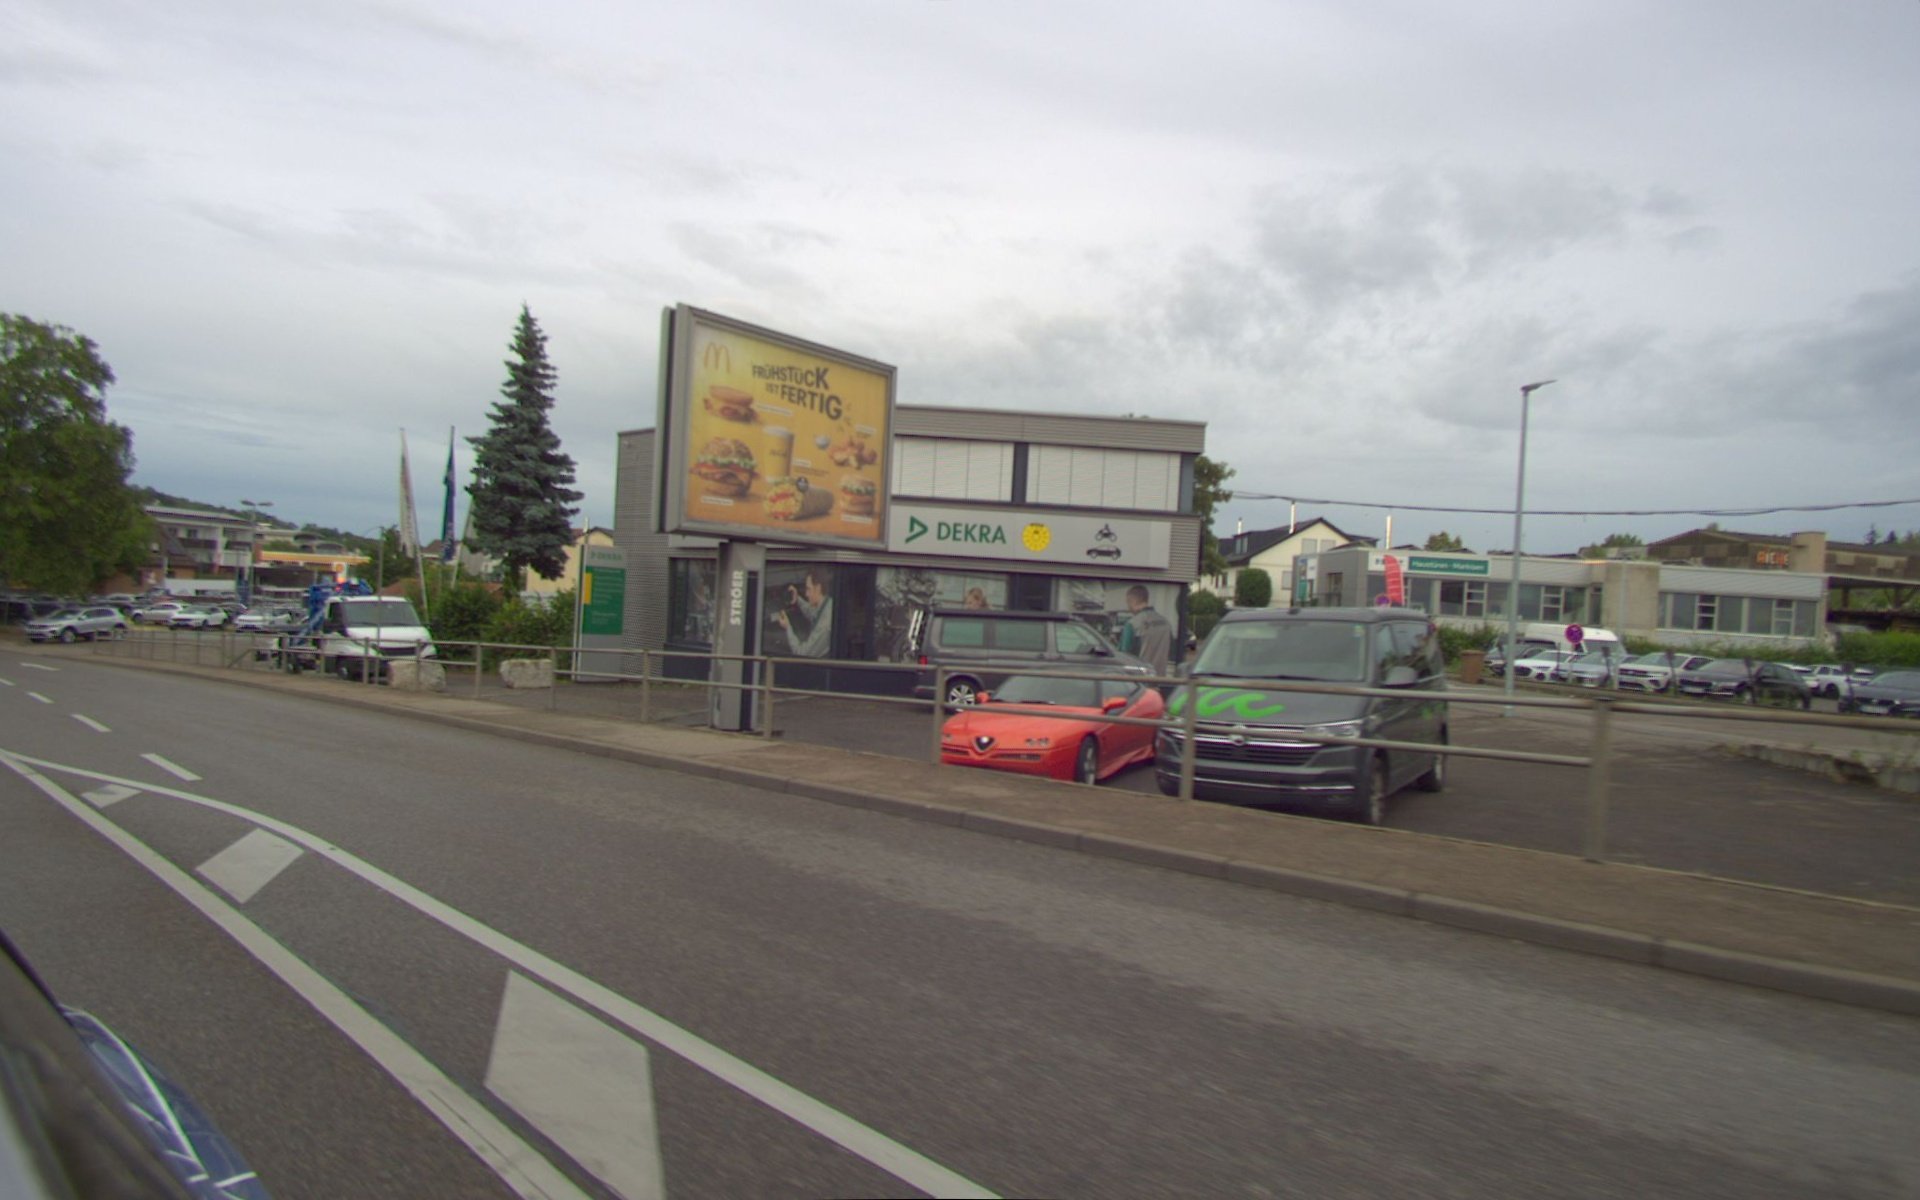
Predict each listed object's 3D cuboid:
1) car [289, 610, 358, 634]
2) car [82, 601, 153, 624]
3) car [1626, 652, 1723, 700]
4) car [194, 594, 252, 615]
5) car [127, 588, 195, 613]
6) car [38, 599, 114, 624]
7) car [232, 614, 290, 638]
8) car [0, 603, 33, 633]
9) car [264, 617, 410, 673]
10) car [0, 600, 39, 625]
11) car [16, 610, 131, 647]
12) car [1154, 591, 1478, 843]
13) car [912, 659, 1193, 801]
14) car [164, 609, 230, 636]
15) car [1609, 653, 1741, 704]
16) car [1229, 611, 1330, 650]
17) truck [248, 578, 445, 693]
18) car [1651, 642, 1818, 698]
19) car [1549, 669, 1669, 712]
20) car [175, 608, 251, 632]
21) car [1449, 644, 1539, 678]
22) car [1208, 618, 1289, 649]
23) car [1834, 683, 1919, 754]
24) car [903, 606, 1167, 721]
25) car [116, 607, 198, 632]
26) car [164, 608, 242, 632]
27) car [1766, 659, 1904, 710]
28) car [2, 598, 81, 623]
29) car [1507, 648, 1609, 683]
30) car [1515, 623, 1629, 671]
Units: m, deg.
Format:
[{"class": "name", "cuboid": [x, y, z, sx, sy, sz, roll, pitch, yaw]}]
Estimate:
[{"class": "car", "cuboid": [-46.590, 1.605, 74.132, 3.995, 1.566, 1.787, 2, -1, 7]}, {"class": "car", "cuboid": [-61.953, 0.910, 74.477, 3.716, 1.562, 1.595, 2, -1, -6]}, {"class": "car", "cuboid": [34.035, 3.598, 48.315, 1.793, 2.029, 3.998, 3, -2, 1]}, {"class": "car", "cuboid": [-74.810, 0.461, 102.786, 2.027, 1.878, 4.917, 2, -2, 3]}, {"class": "car", "cuboid": [-75.333, 0.055, 95.511, 2.027, 2.102, 5.250, 2, -2, 3]}, {"class": "car", "cuboid": [-62.111, 0.809, 71.147, 3.716, 1.562, 1.595, 2, -1, -6]}, {"class": "car", "cuboid": [-43.219, 1.593, 62.667, 1.798, 1.426, 4.022, 3, -2, -18]}, {"class": "car", "cuboid": [-52.662, 0.937, 54.424, 1.669, 1.579, 3.848, 1, -2, 37]}, {"class": "car", "cuboid": [-23.131, 1.647, 37.652, 4.232, 1.885, 2.059, 1, -2, 8]}, {"class": "car", "cuboid": [-62.155, 0.771, 65.281, 3.715, 1.562, 1.596, 2, -1, -8]}, {"class": "car", "cuboid": [-41.133, 1.301, 47.072, 1.699, 1.582, 4.003, 1, 0, 4]}, {"class": "car", "cuboid": [3.840, 0.985, 10.188, 1.818, 1.885, 5.023, 0, -2, 35]}, {"class": "car", "cuboid": [1.278, 1.383, 12.005, 1.763, 1.277, 4.062, 0, -2, 30]}, {"class": "car", "cuboid": [-46.555, 1.367, 61.838, 1.760, 1.521, 4.055, 3, -1, -15]}, {"class": "car", "cuboid": [21.720, 2.363, 30.759, 3.530, 1.439, 1.588, 2, -2, -21]}, {"class": "car", "cuboid": [20.749, 1.981, 65.891, 5.794, 2.387, 2.147, 1, 0, -1]}, {"class": "truck", "cuboid": [-16.324, 0.864, 26.636, 7.887, 2.653, 1.973, 0, -3, 41]}, {"class": "car", "cuboid": [21.226, 1.907, 27.741, 3.921, 1.439, 1.850, 2, -2, -21]}, {"class": "car", "cuboid": [21.432, 2.974, 33.426, 3.441, 1.299, 1.595, 2, -2, -21]}, {"class": "car", "cuboid": [-52.322, 1.409, 70.935, 3.990, 1.463, 1.789, 2, -1, 3]}, {"class": "car", "cuboid": [20.300, 2.317, 38.502, 3.010, 1.197, 1.386, 2, -2, -21]}, {"class": "car", "cuboid": [20.445, 2.364, 71.806, 5.028, 2.105, 2.147, 1, 0, -1]}, {"class": "car", "cuboid": [22.199, 2.664, 23.025, 3.921, 1.439, 1.850, 2, -2, -21]}, {"class": "car", "cuboid": [1.381, 1.184, 19.646, 4.810, 2.002, 1.999, 1, -1, 1]}, {"class": "car", "cuboid": [-52.704, 1.294, 66.495, 3.990, 1.463, 1.789, 2, -1, 3]}, {"class": "car", "cuboid": [-51.554, 1.333, 68.931, 3.990, 1.463, 1.789, 2, -1, 3]}, {"class": "car", "cuboid": [41.701, 3.983, 48.463, 1.973, 1.979, 5.377, 1, 0, 1]}, {"class": "car", "cuboid": [-62.041, 0.707, 68.405, 3.716, 1.562, 1.595, 2, -1, -6]}, {"class": "car", "cuboid": [21.331, 2.346, 36.119, 3.205, 1.188, 1.456, 2, -2, -21]}, {"class": "car", "cuboid": [29.433, 2.189, 48.919, 1.972, 2.029, 5.876, 1, 0, 1]}]
